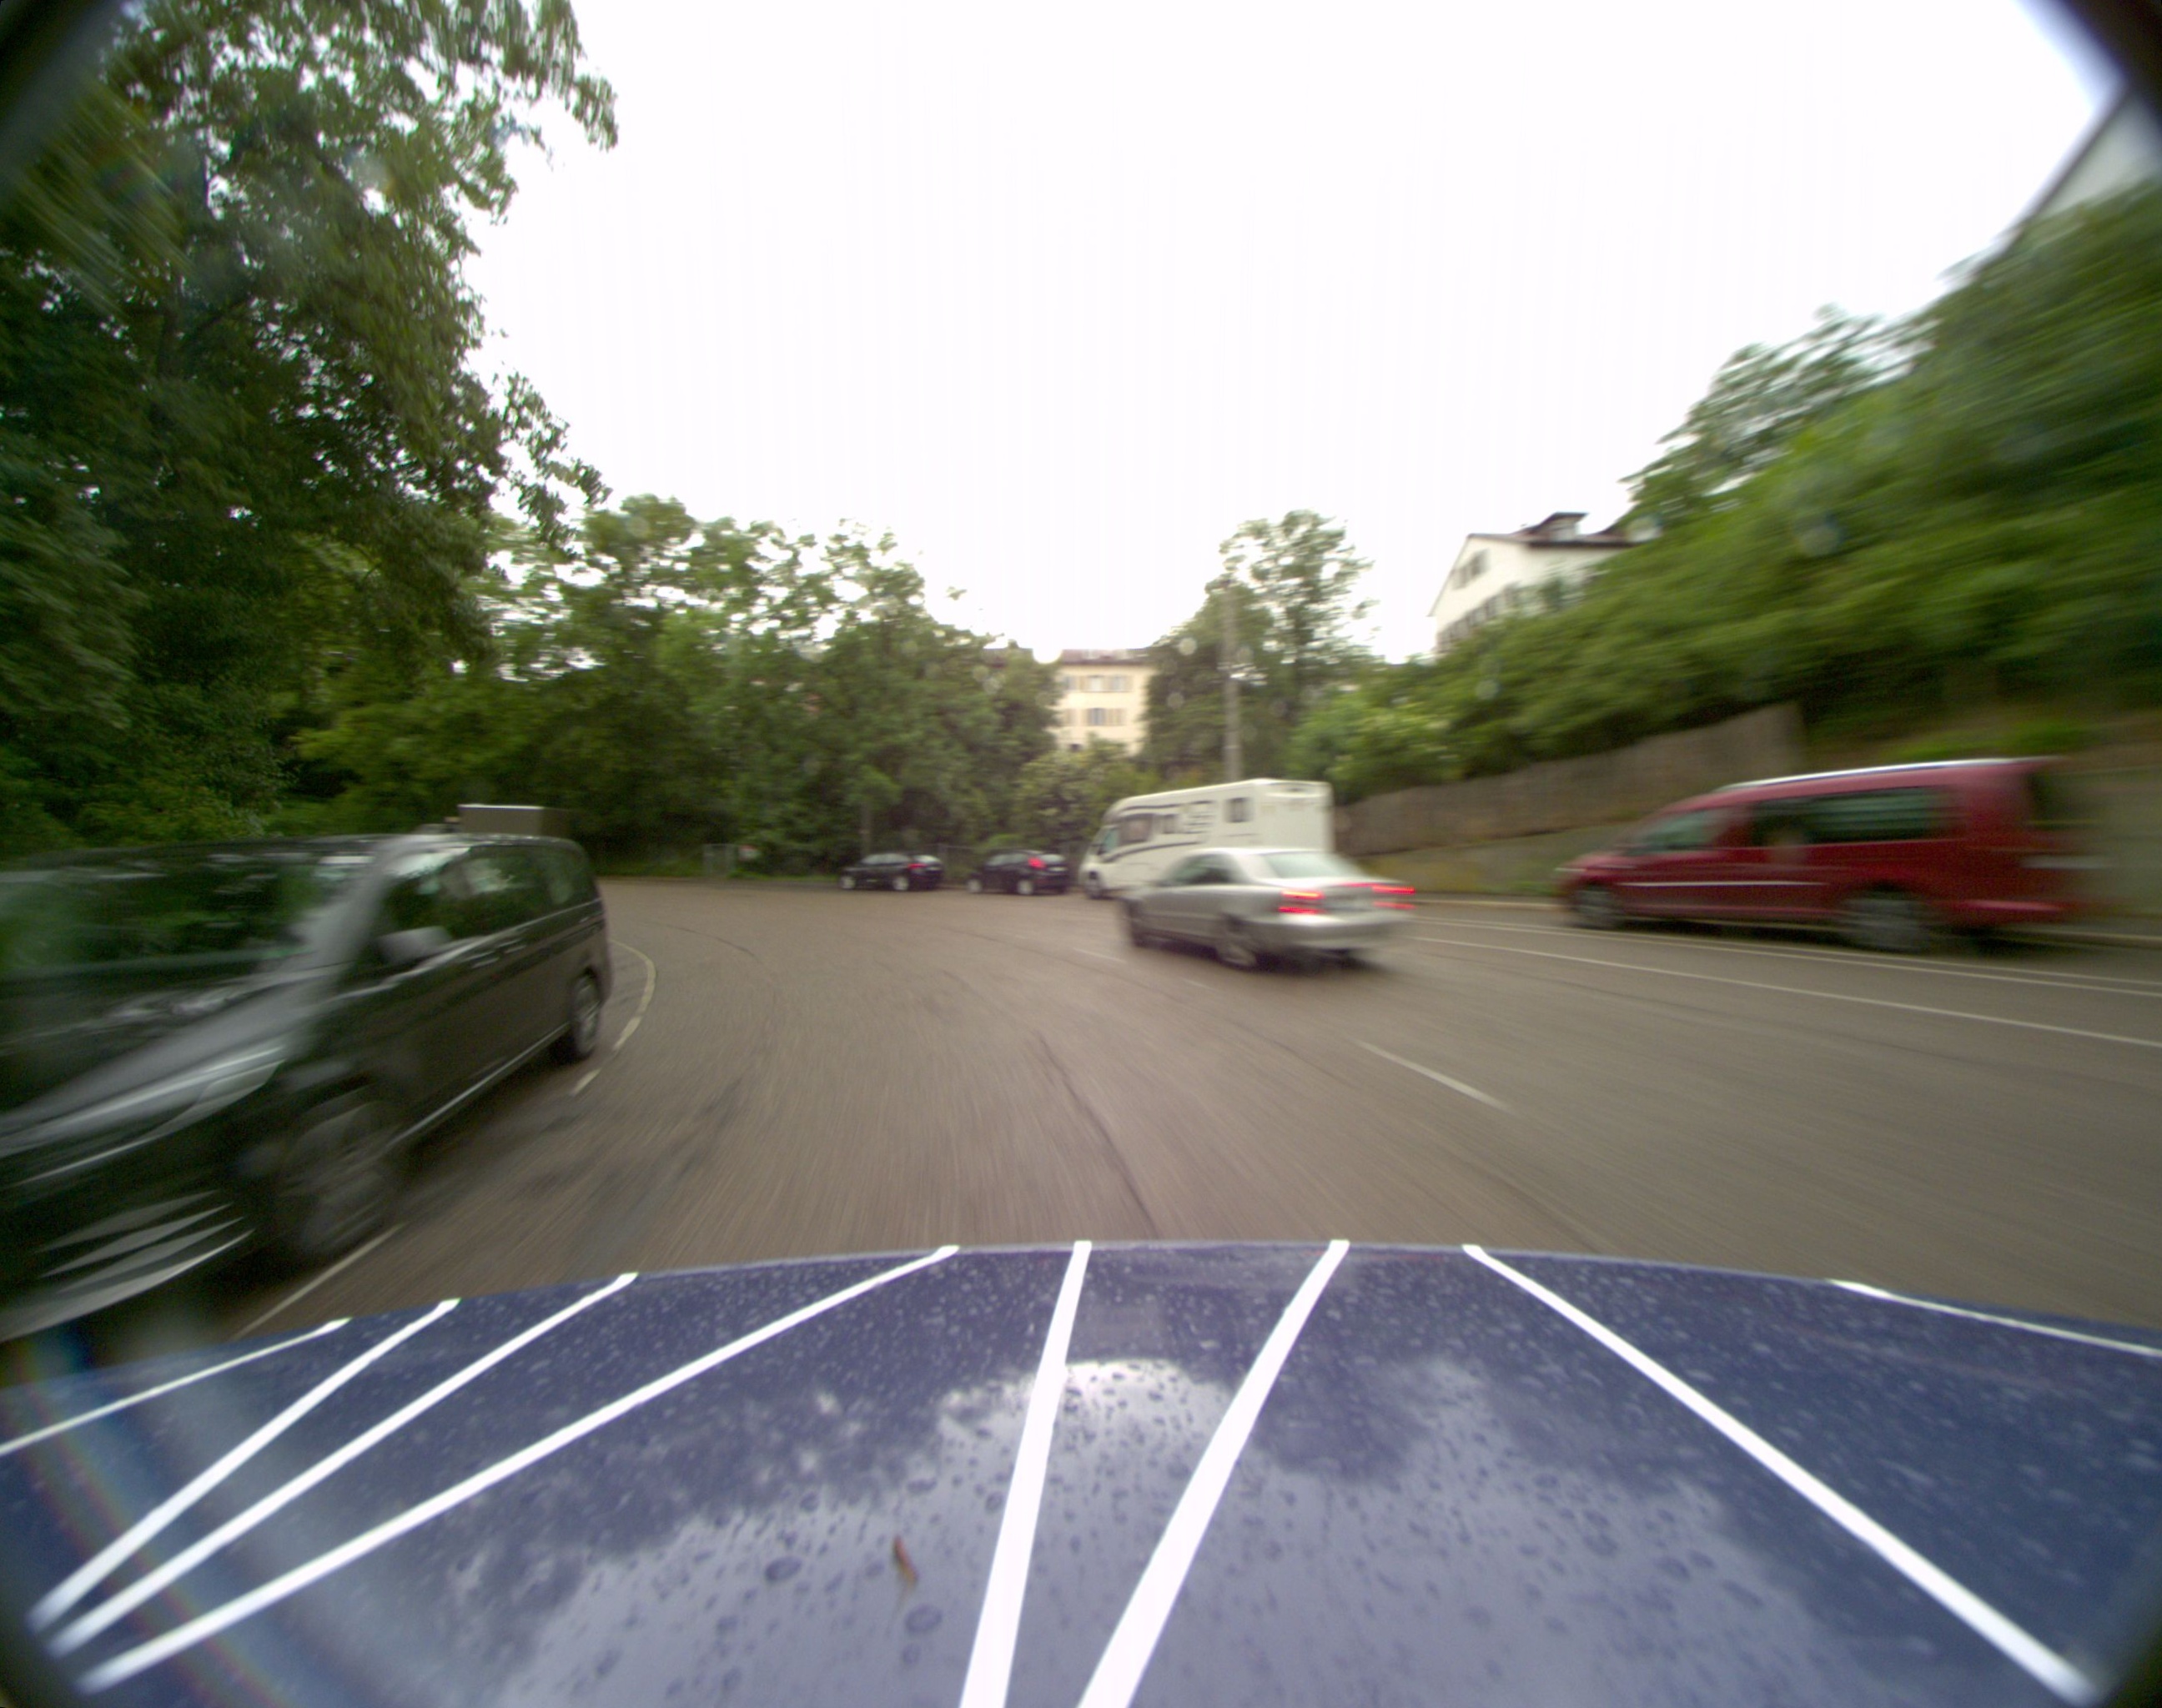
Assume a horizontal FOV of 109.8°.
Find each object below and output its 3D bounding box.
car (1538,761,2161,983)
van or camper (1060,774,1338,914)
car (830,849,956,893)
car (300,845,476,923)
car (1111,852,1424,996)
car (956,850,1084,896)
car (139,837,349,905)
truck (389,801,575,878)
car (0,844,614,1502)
[{"bbox_3d":[8.416,0.139,9.092,2.001,1.865,4.814,-4,1,-19],"label":"car"},{"bbox_3d":[2.644,-0.226,19.737,2.463,2.950,7.506,-3,1,-36],"label":"van or camper"},{"bbox_3d":[-7.029,0.568,28.341,4.359,1.455,2.003,0,2,30],"label":"car"},{"bbox_3d":[-15.504,0.591,16.994,3.690,1.439,1.667,3,3,26],"label":"car"},{"bbox_3d":[2.080,0.708,9.905,1.792,1.377,4.331,-3,1,-21],"label":"car"},{"bbox_3d":[-2.070,0.572,24.905,4.120,1.403,1.919,0,0,44],"label":"car"},{"bbox_3d":[-20.655,0.369,18.805,3.980,1.422,1.682,2,3,11],"label":"car"},{"bbox_3d":[-25.362,-0.561,32.368,5.944,3.041,2.231,1,-1,-3],"label":"truck"},{"bbox_3d":[-4.607,0.977,4.333,2.001,1.876,5.028,-5,1,-17],"label":"car"}]
